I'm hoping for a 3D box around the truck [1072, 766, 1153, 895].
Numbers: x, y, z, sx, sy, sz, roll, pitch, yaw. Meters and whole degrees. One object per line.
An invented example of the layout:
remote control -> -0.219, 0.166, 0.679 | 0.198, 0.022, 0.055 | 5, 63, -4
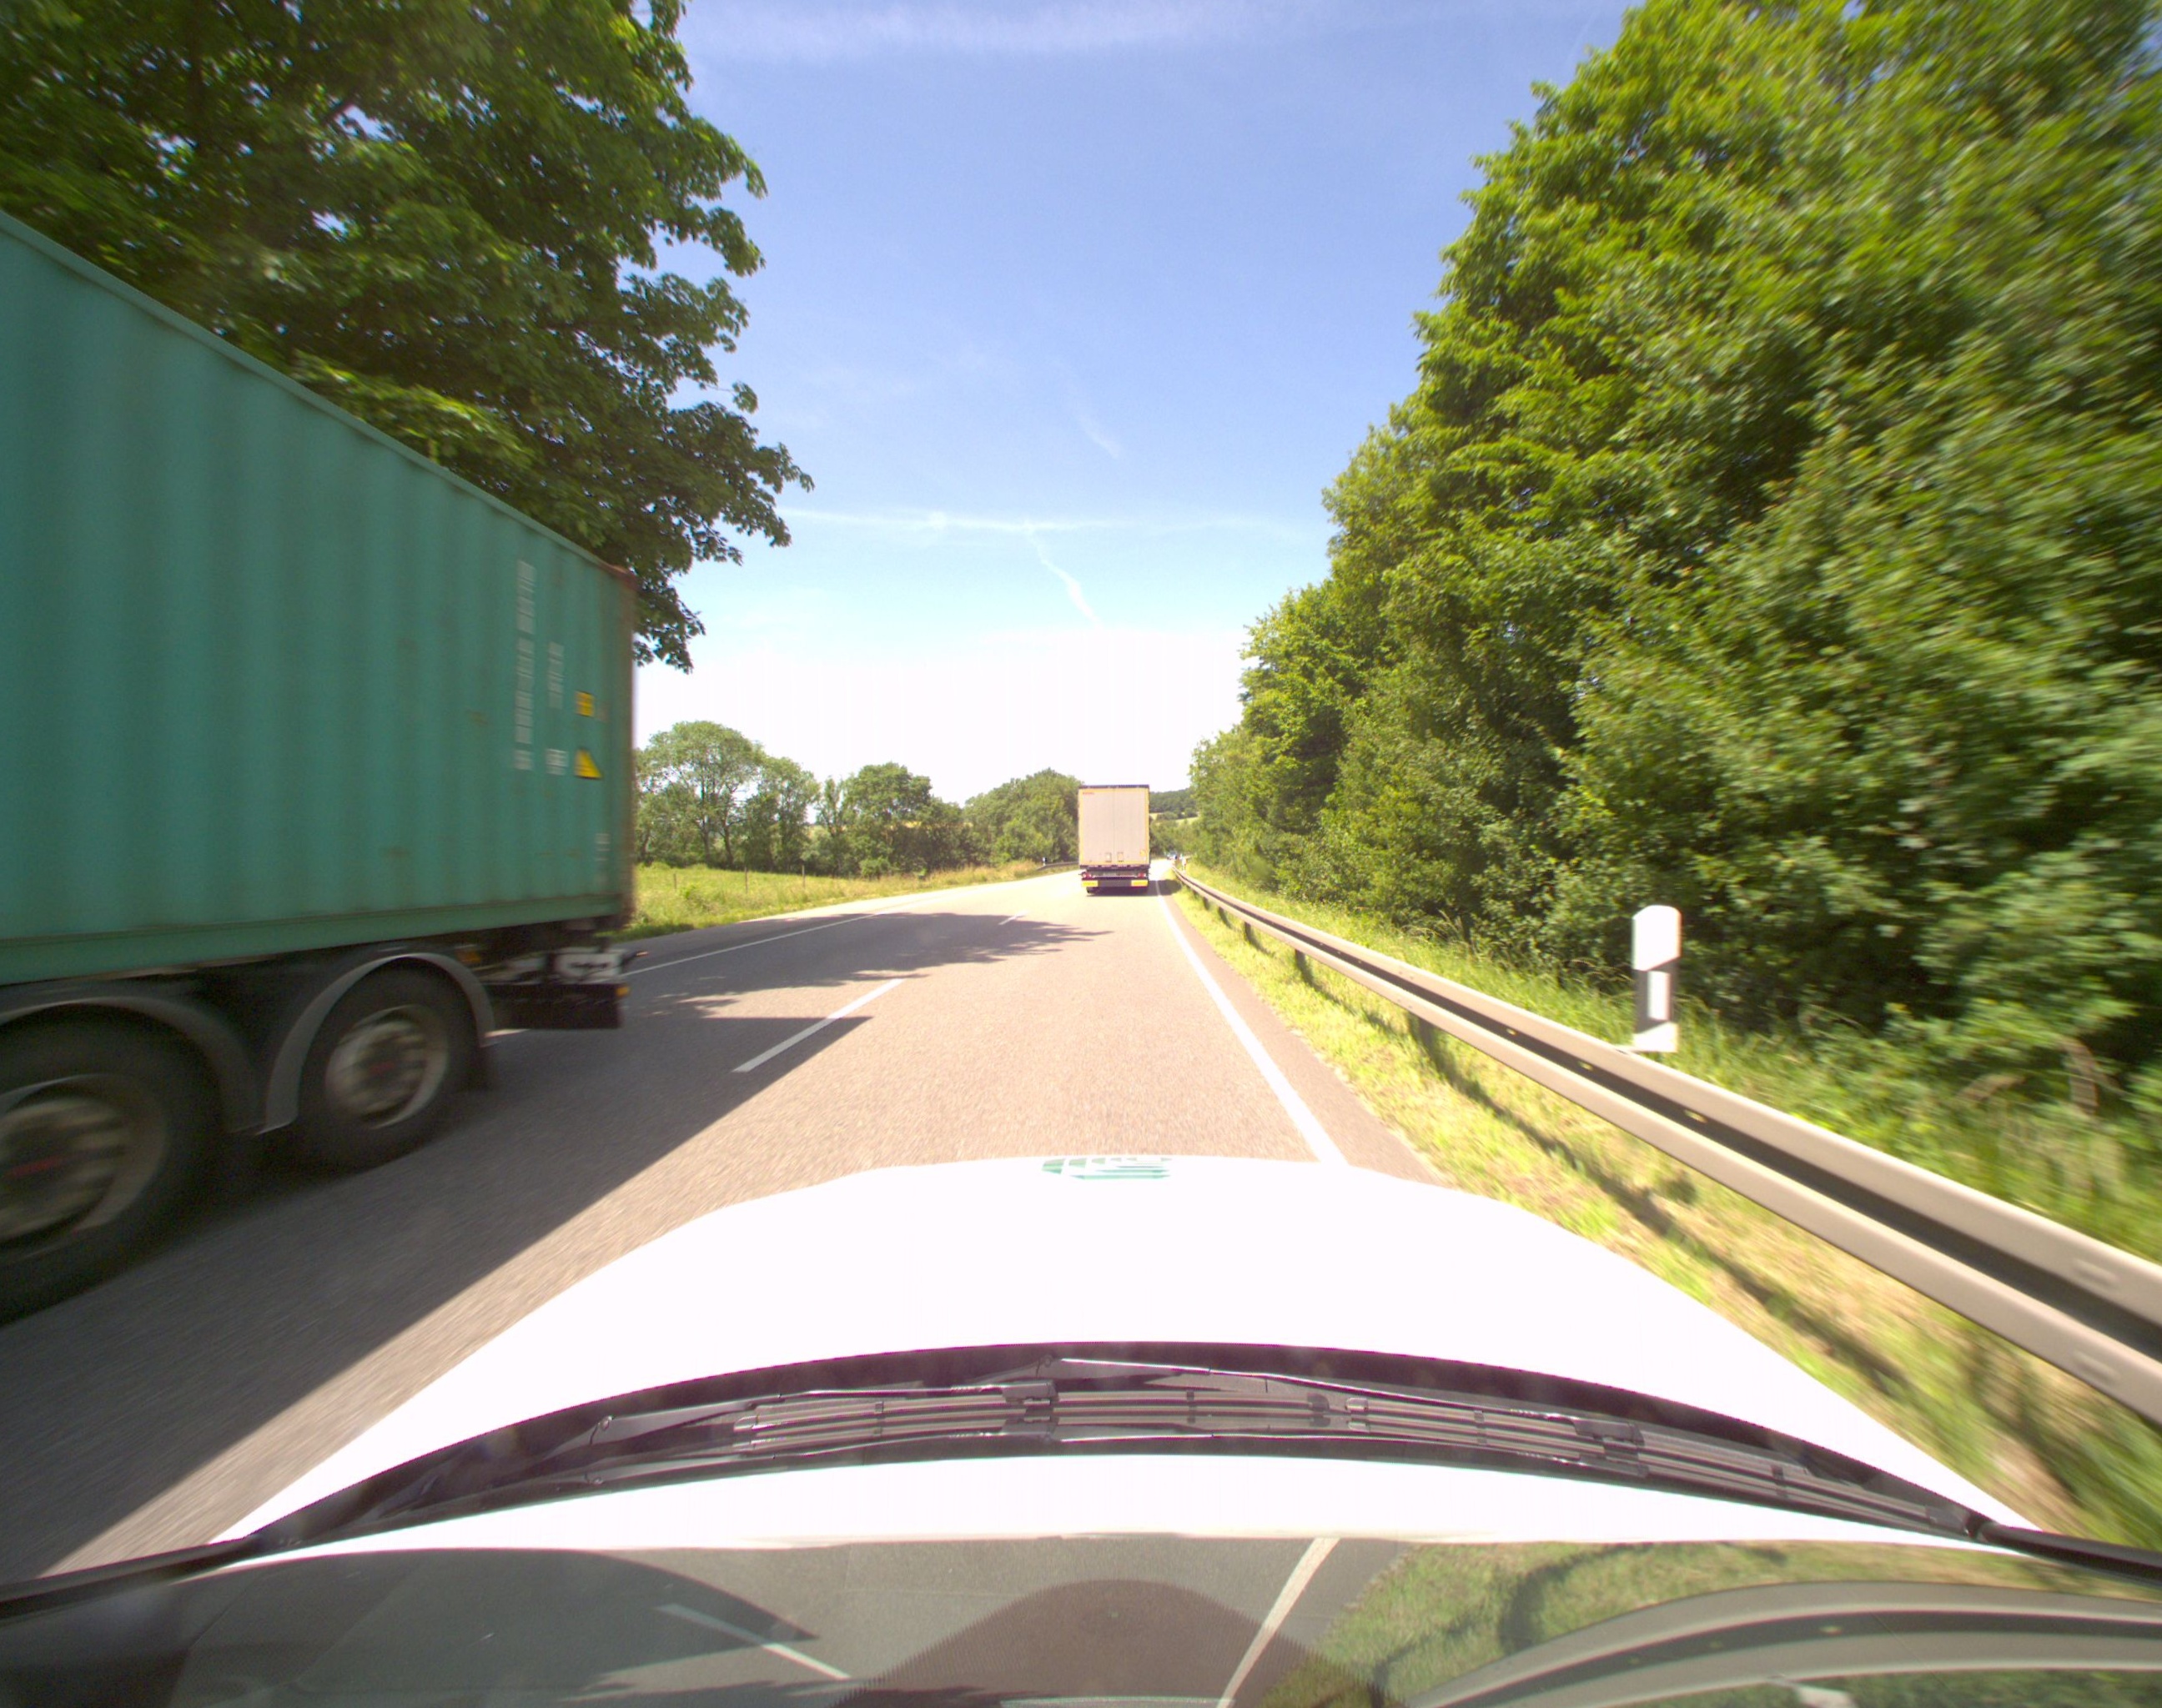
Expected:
truck -> 1.639, -0.821, 34.774 | 2.804, 4.532, 11.785 | -1, 0, 5
